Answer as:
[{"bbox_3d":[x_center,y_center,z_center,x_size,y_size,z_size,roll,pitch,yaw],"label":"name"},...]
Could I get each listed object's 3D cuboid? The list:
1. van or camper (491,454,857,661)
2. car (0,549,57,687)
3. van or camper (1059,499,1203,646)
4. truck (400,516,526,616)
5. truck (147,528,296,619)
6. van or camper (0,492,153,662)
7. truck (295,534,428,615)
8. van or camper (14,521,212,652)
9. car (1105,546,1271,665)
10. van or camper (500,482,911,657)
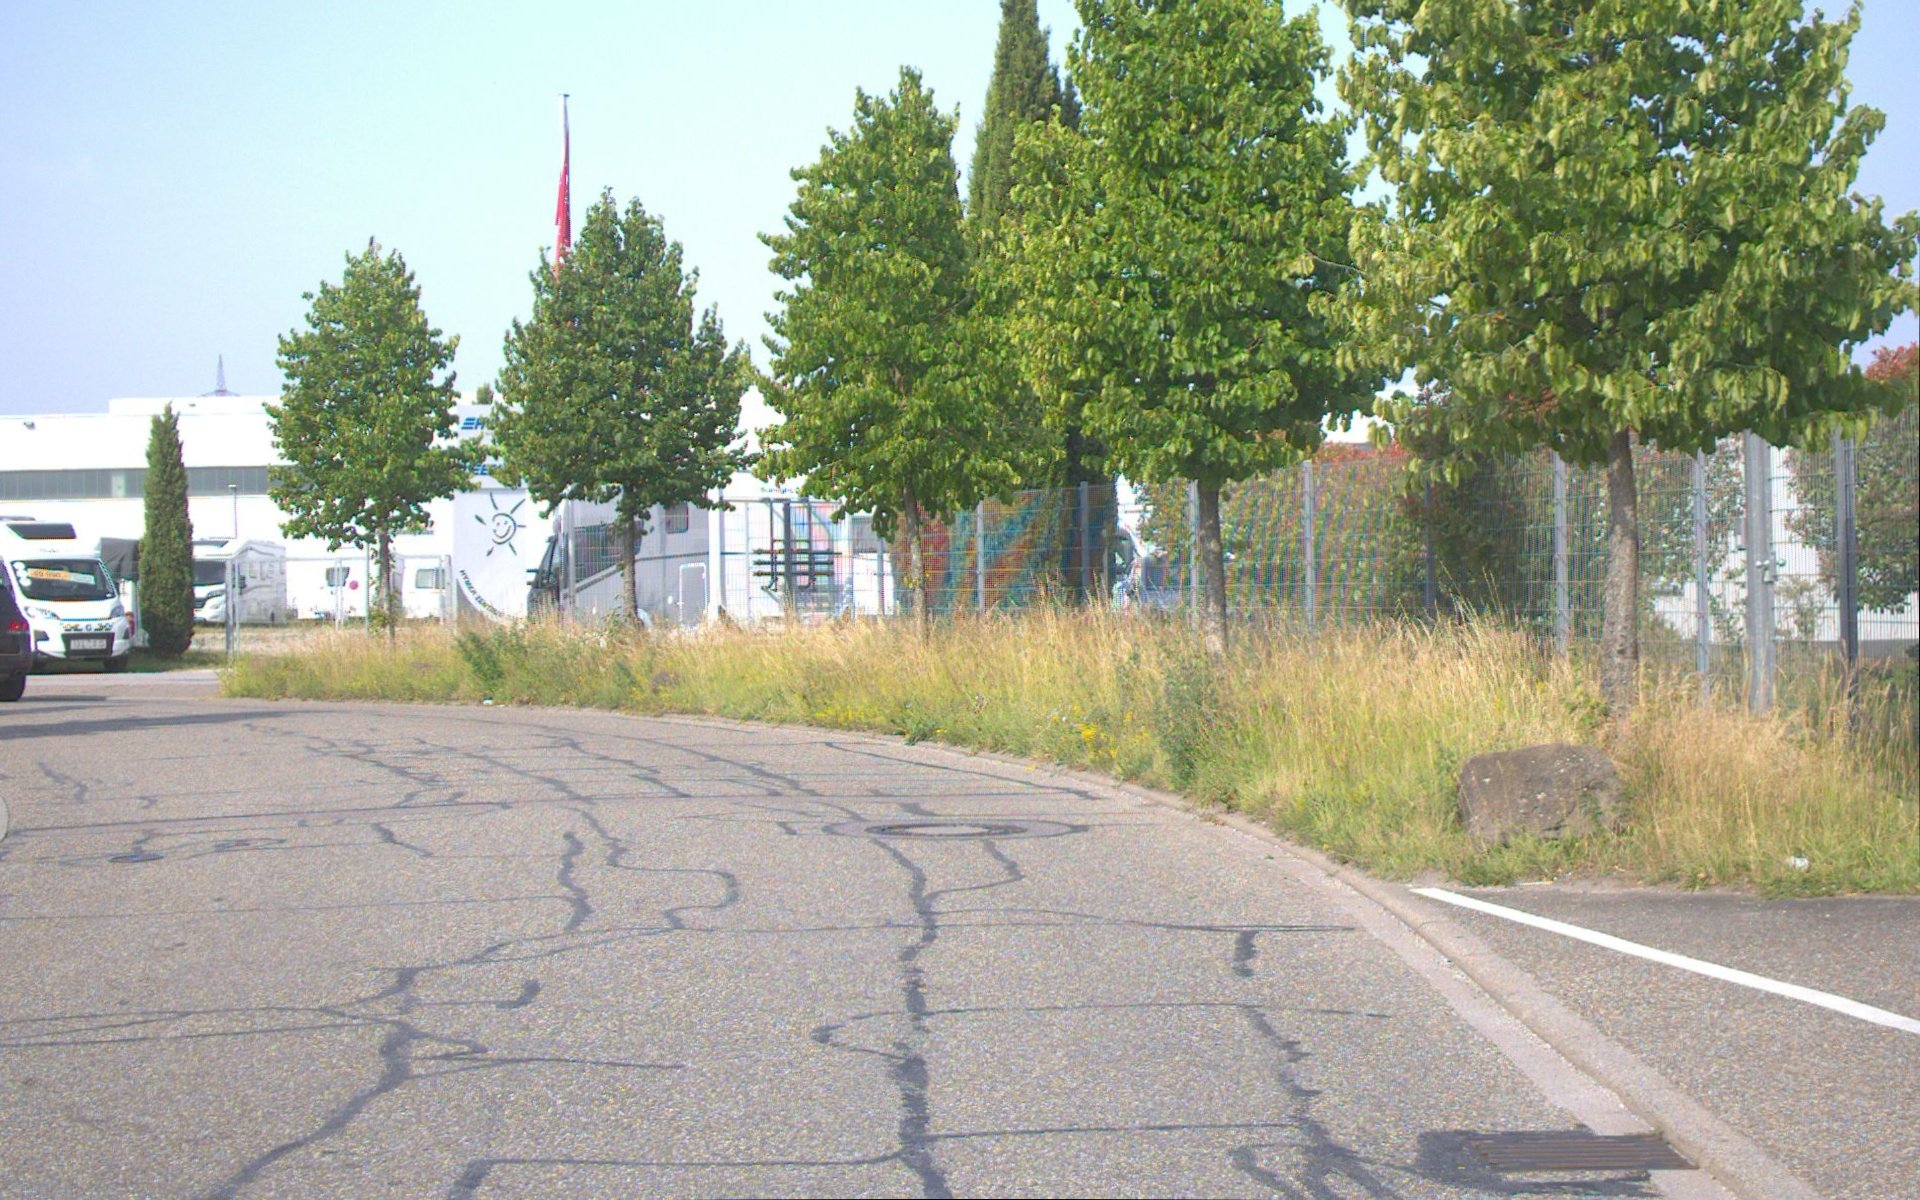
[{"bbox_3d":[-4.373,-0.591,50.948,2.349,2.838,7.342,-1,0,-31],"label":"van or camper"},{"bbox_3d":[-13.788,0.245,46.936,1.993,1.798,4.001,-2,1,-27],"label":"car"},{"bbox_3d":[3.434,-0.528,70.470,2.320,2.854,6.610,-1,0,-2],"label":"van or camper"},{"bbox_3d":[-14.509,-1.006,100.874,2.450,2.817,8.002,-1,1,0],"label":"truck"},{"bbox_3d":[-21.026,-0.772,98.271,2.450,2.463,8.002,-1,1,0],"label":"truck"},{"bbox_3d":[-17.396,-0.425,63.071,2.331,2.933,6.969,-1,1,-38],"label":"van or camper"},{"bbox_3d":[-17.493,-0.768,100.930,2.450,2.257,8.002,-1,1,0],"label":"truck"},{"bbox_3d":[-17.409,-0.323,71.087,2.483,2.550,6.626,0,1,0],"label":"van or camper"},{"bbox_3d":[3.252,0.057,49.701,1.722,1.637,4.001,1,1,-6],"label":"car"},{"bbox_3d":[-4.651,-0.561,62.529,7.257,3.021,2.586,-1,0,-6],"label":"van or camper"}]
